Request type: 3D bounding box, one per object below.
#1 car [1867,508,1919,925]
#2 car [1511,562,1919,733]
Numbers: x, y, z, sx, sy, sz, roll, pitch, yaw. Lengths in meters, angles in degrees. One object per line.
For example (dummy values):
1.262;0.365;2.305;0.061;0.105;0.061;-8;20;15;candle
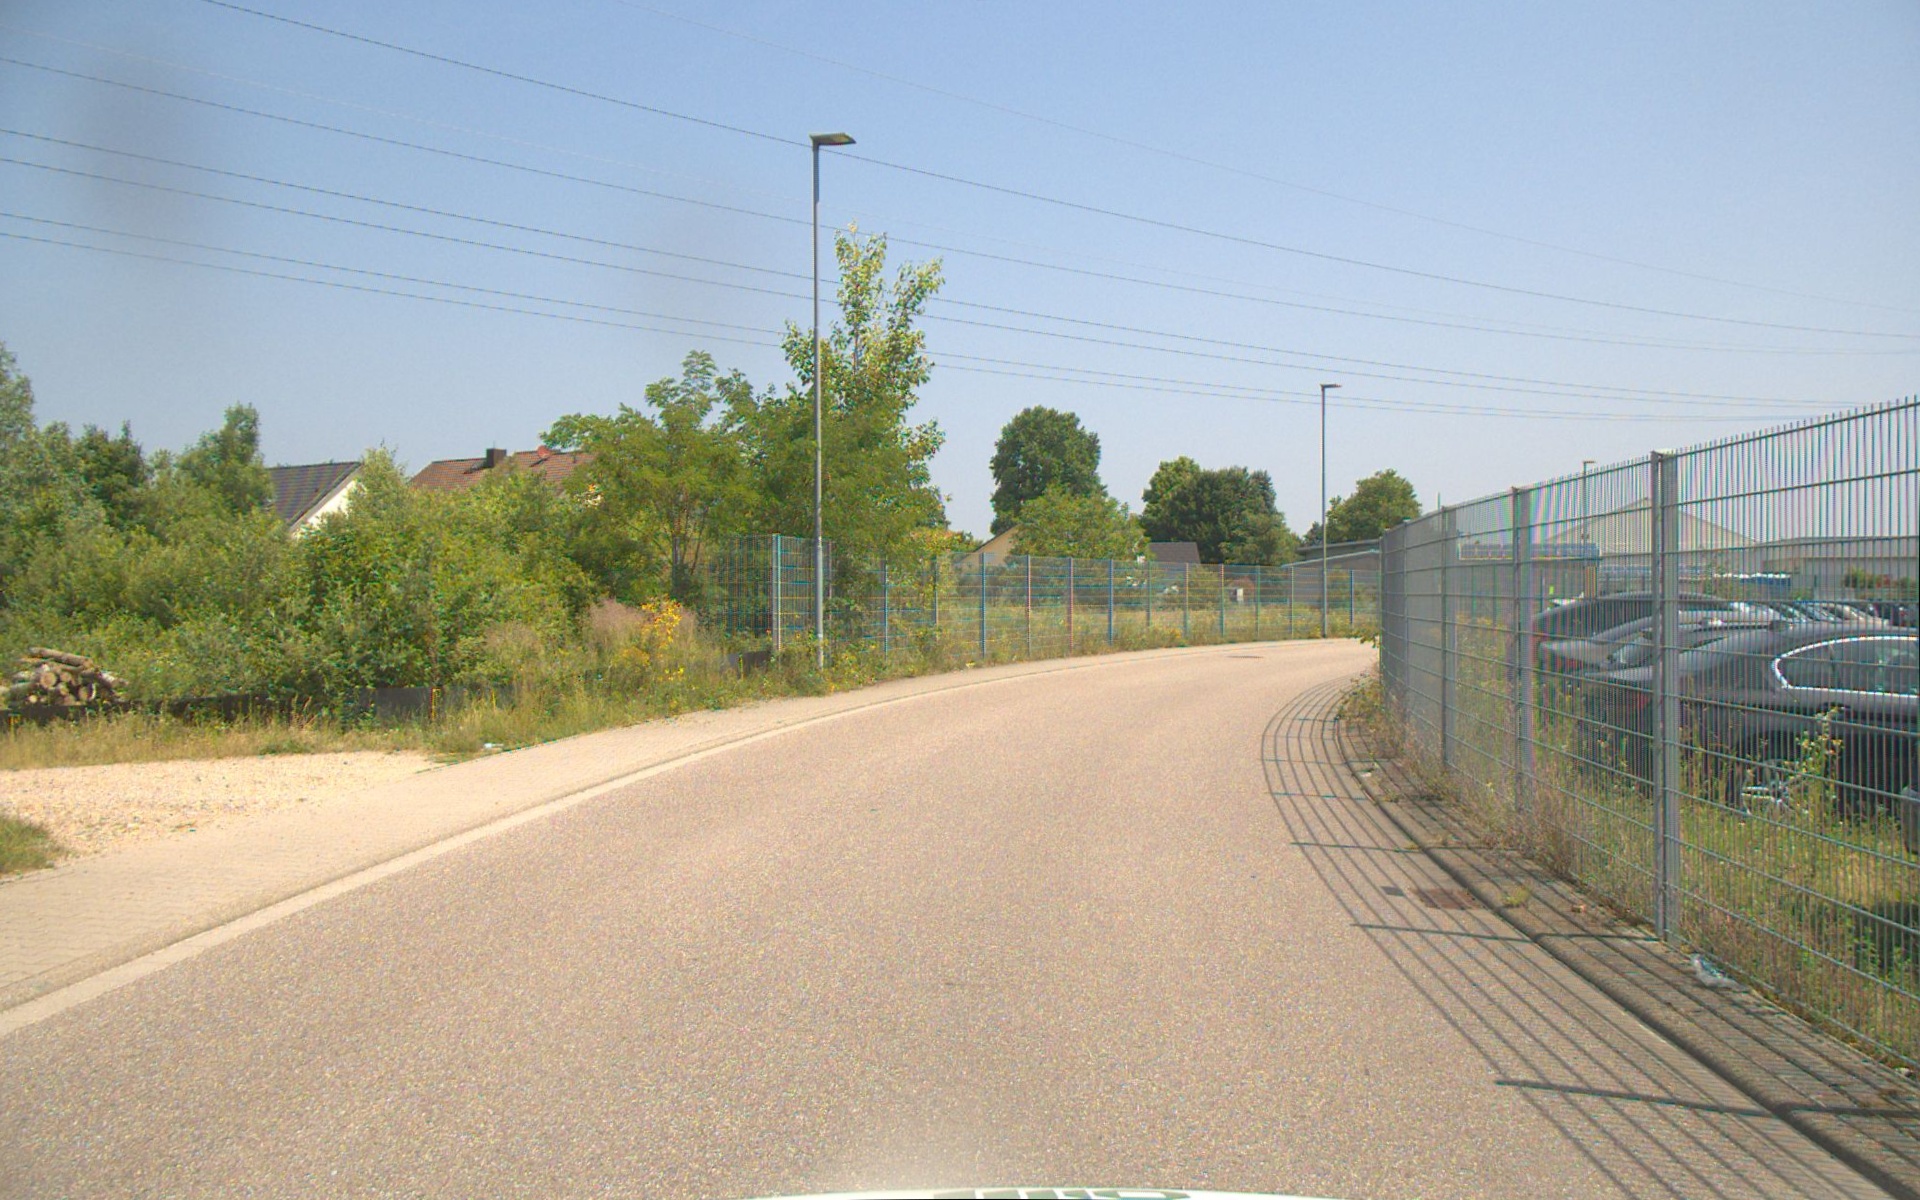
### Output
6.386;0.478;6.535;4.586;1.800;1.743;-1;0;5;car
7.937;0.452;16.803;4.375;1.610;1.797;-1;0;18;car
